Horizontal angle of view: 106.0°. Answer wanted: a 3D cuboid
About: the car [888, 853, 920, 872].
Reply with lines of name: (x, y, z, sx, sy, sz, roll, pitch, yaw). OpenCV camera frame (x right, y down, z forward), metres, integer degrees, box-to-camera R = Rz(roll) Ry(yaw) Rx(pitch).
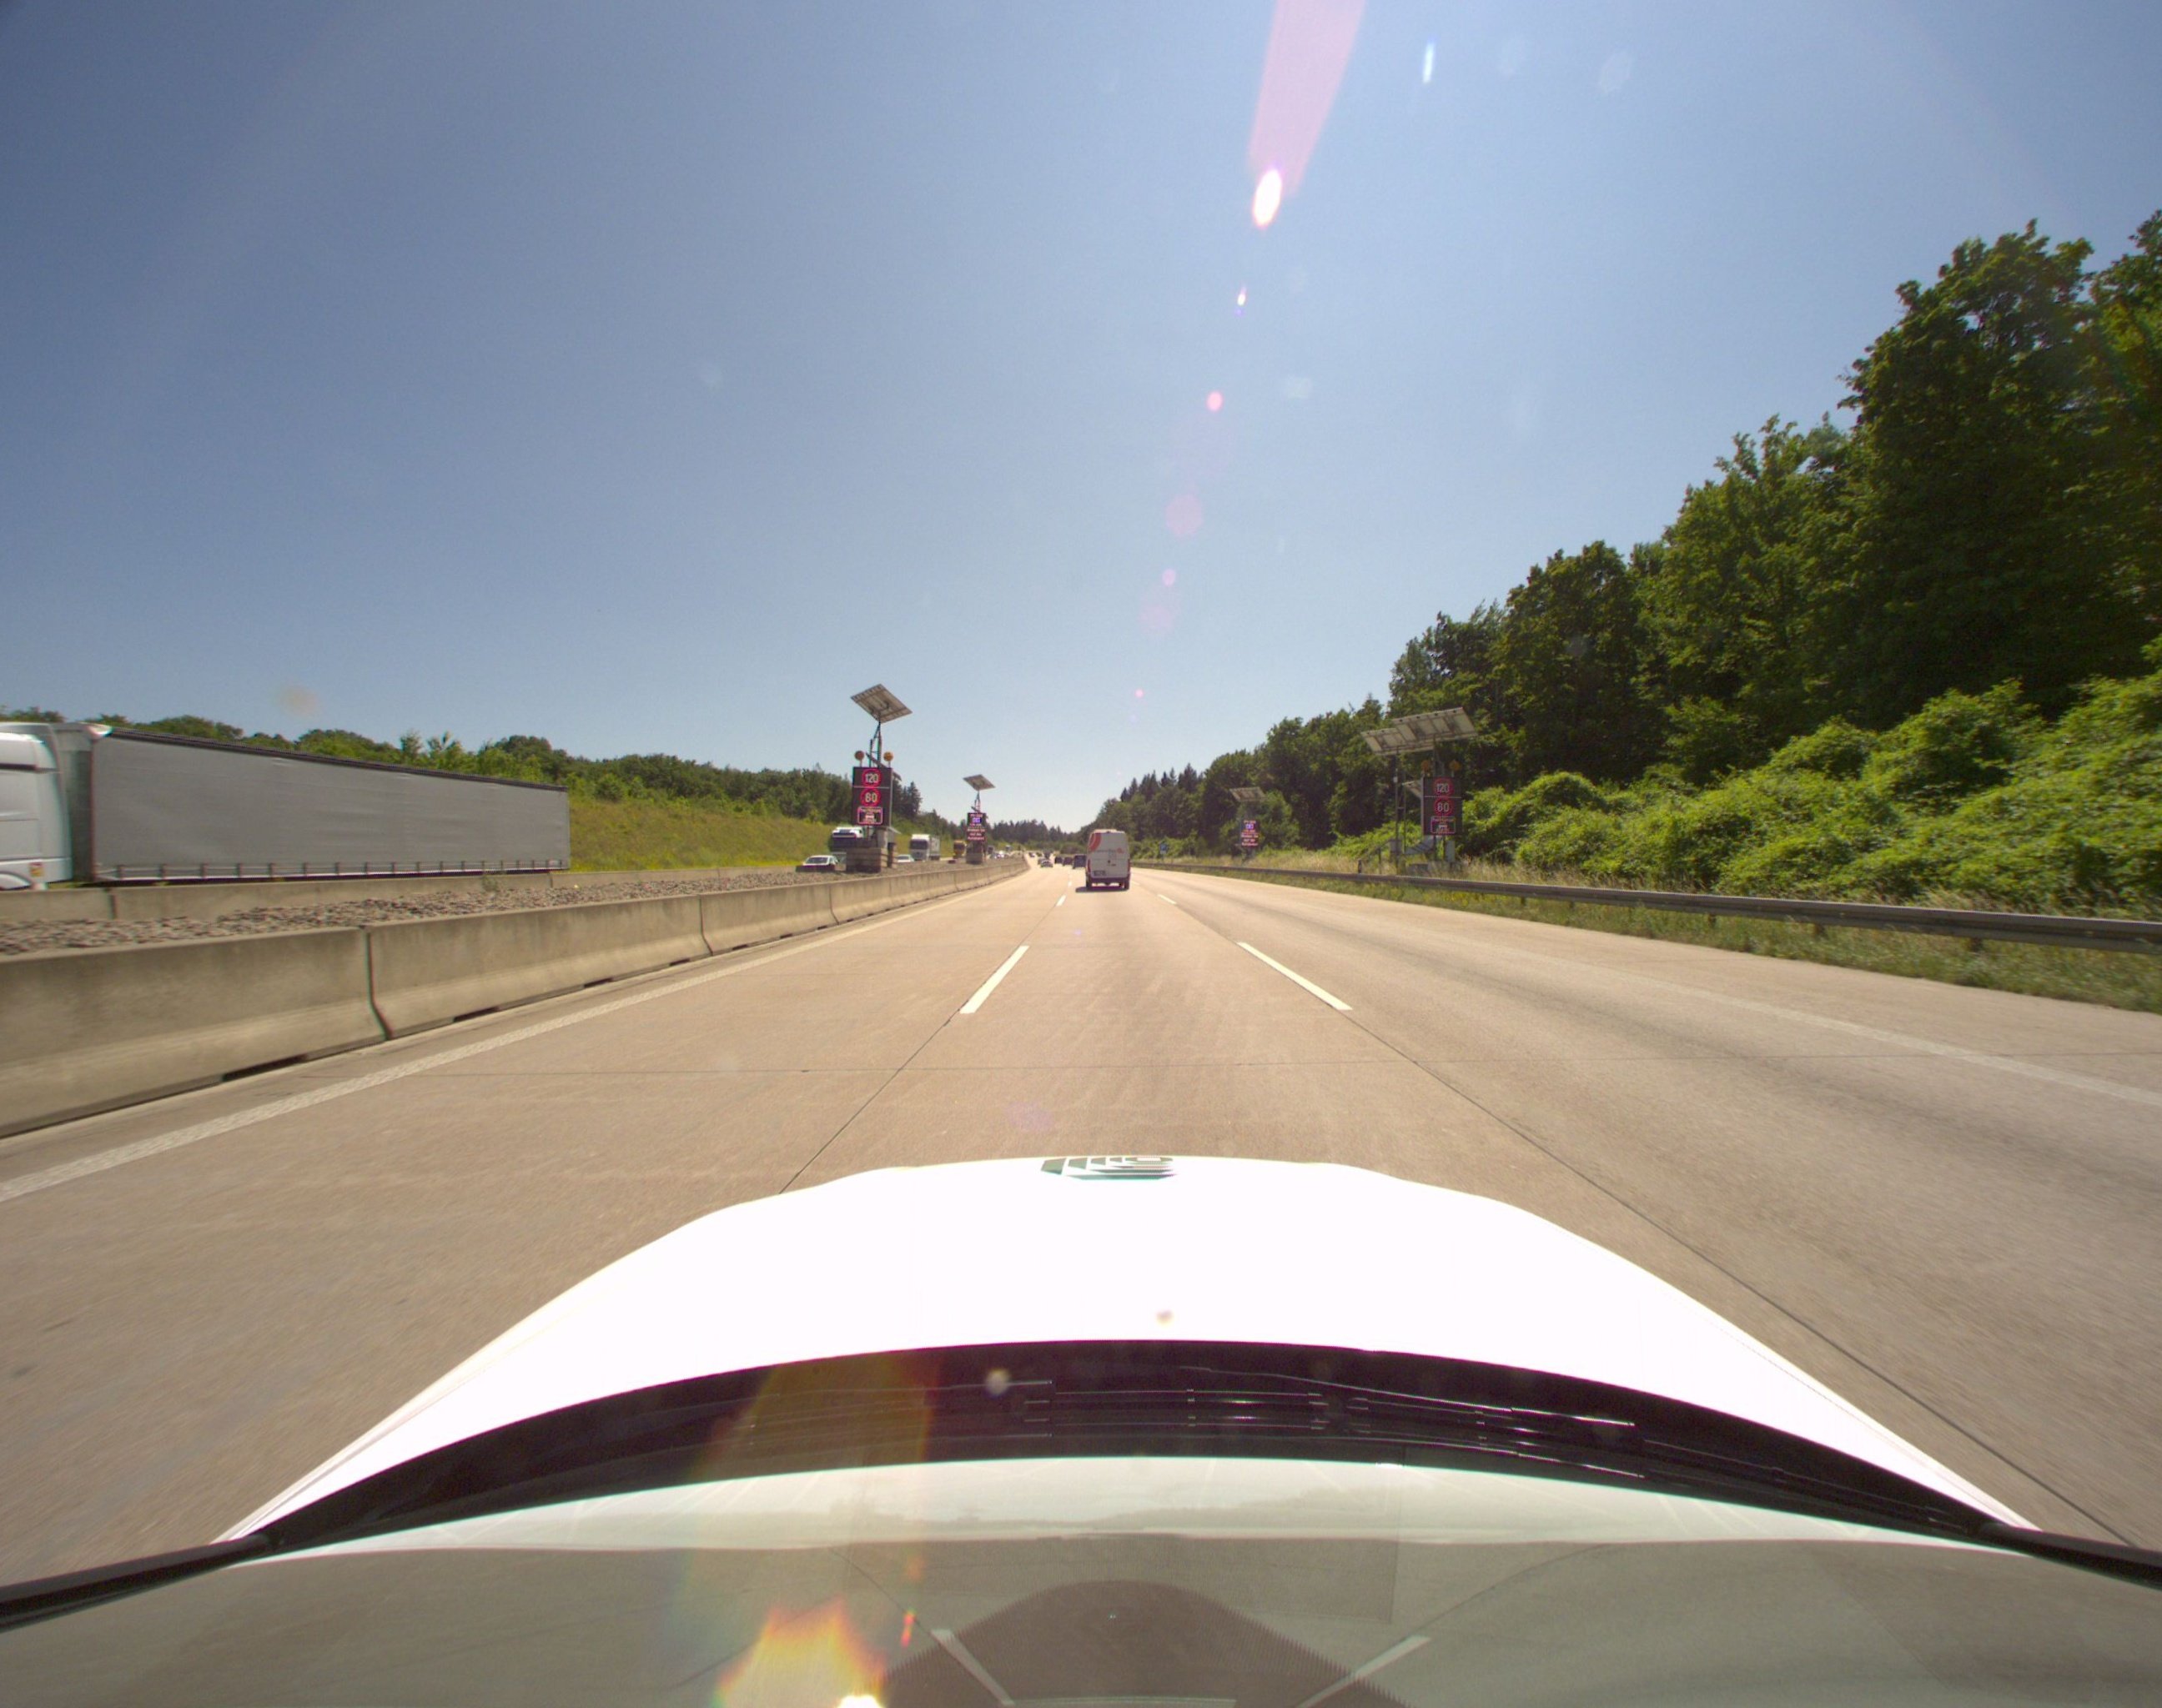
car: (-16.434, 0.767, 75.800, 1.987, 1.684, 4.000, -1, 0, 0)

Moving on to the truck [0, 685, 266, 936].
truck: (-19.448, -0.747, 14.965, 2.924, 4.169, 5.759, 2, -1, 0)

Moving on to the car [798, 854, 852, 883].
car: (-15.651, 0.880, 49.997, 1.987, 1.684, 4.000, -1, 0, 0)

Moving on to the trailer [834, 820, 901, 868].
trailer: (-20.624, -0.816, 79.899, 2.925, 4.169, 14.379, 2, 0, -1)

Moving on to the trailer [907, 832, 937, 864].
trailer: (-22.026, -0.757, 113.076, 2.927, 4.169, 6.883, 2, -1, -3)

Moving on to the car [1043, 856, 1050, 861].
car: (-10.835, 1.460, 256.558, 1.987, 1.684, 3.999, 2, -1, 0)

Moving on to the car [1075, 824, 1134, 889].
car: (1.005, 0.090, 38.708, 2.223, 2.844, 5.445, 0, 0, -5)

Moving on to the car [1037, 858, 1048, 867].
car: (-7.643, 1.652, 160.630, 1.987, 1.684, 3.999, 2, -1, 0)

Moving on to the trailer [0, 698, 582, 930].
trailer: (-19.436, -0.692, 21.977, 2.924, 4.169, 14.385, 2, 0, 0)

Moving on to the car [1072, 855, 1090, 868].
car: (0.018, 0.954, 105.223, 1.990, 1.684, 3.993, 2, -1, -5)

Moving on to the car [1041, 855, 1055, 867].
car: (-4.912, 1.103, 121.534, 1.987, 1.684, 3.999, 2, -1, 0)

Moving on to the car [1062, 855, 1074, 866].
car: (-2.162, 1.114, 139.260, 1.987, 1.684, 3.999, 2, -1, 0)

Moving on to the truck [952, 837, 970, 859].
truck: (-26.545, -1.270, 180.386, 2.907, 4.513, 11.245, -1, 0, -3)

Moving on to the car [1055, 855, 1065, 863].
car: (-4.574, 1.182, 177.102, 1.987, 1.684, 3.999, 2, -1, 0)

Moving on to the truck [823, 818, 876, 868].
truck: (-20.484, -0.881, 72.331, 2.925, 4.169, 6.225, 2, -1, -1)
